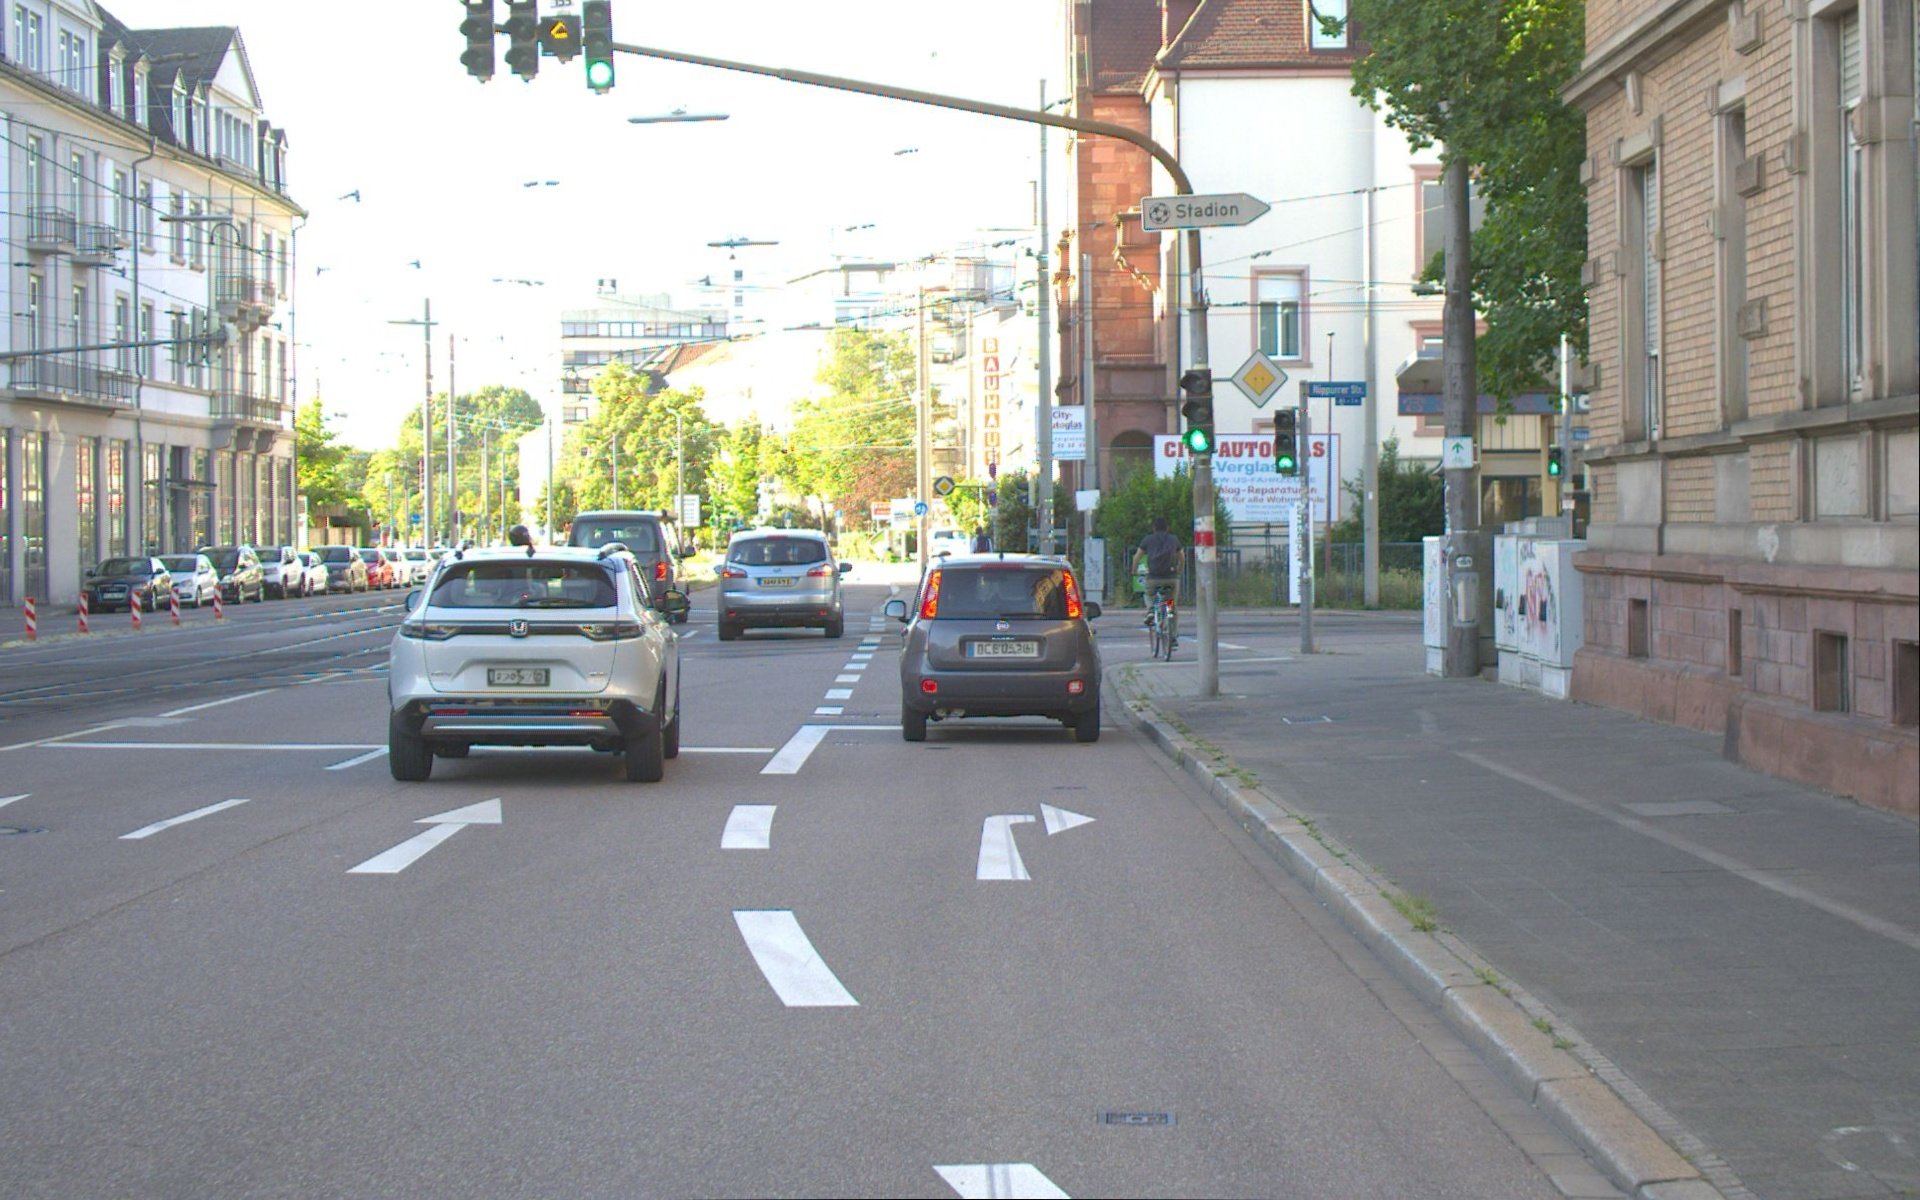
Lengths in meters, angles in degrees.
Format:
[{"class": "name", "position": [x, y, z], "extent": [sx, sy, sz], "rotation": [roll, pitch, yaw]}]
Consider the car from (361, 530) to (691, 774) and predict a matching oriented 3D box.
[{"class": "car", "position": [-2.902, 0.289, 23.777], "extent": [1.947, 1.523, 4.090], "rotation": [0, 1, -3]}]

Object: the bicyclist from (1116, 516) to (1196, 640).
[{"class": "bicyclist", "position": [2.431, -0.277, 42.663], "extent": [0.833, 1.520, 0.994], "rotation": [0, 1, -6]}]

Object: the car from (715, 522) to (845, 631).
[{"class": "car", "position": [-2.693, -0.374, 52.276], "extent": [1.814, 1.576, 4.000], "rotation": [0, 1, -1]}]

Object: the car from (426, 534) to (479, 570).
[{"class": "car", "position": [-22.164, -2.122, 150.370], "extent": [1.719, 1.546, 4.000], "rotation": [0, 1, 0]}]

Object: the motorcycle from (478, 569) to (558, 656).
[{"class": "motorcycle", "position": [-5.786, 0.147, 45.064], "extent": [0.777, 1.078, 2.281], "rotation": [0, 1, -1]}]

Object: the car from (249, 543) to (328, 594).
[{"class": "car", "position": [-21.361, -1.015, 109.459], "extent": [1.719, 1.546, 4.000], "rotation": [0, 1, 0]}]

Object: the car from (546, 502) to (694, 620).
[{"class": "car", "position": [-5.983, -0.709, 61.014], "extent": [2.172, 2.002, 4.808], "rotation": [0, 1, 0]}]

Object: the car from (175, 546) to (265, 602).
[{"class": "car", "position": [-20.963, -0.753, 97.547], "extent": [1.719, 1.546, 3.856], "rotation": [0, 1, 0]}]

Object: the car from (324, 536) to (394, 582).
[{"class": "car", "position": [-21.044, -1.446, 120.489], "extent": [1.719, 1.546, 4.000], "rotation": [0, 1, 0]}]

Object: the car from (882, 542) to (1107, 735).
[{"class": "car", "position": [0.359, 0.267, 29.188], "extent": [1.731, 1.495, 4.000], "rotation": [0, 1, 3]}]

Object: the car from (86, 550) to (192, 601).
[{"class": "car", "position": [-20.753, -0.637, 87.010], "extent": [1.719, 1.228, 4.000], "rotation": [0, 1, 0]}]

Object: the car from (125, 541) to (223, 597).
[{"class": "car", "position": [-21.144, -0.839, 92.593], "extent": [1.719, 1.447, 4.000], "rotation": [0, 1, 0]}]

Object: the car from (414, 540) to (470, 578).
[{"class": "car", "position": [-21.729, -1.735, 144.362], "extent": [1.719, 1.546, 4.000], "rotation": [0, 1, 0]}]

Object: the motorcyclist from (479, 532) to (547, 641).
[{"class": "motorcyclist", "position": [-5.846, -0.182, 44.999], "extent": [0.777, 1.418, 0.891], "rotation": [0, 1, -1]}]

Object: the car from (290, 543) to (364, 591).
[{"class": "car", "position": [-21.079, -1.106, 114.534], "extent": [1.719, 1.546, 4.000], "rotation": [0, 1, 0]}]

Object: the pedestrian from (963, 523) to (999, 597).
[{"class": "pedestrian", "position": [0.524, -0.990, 84.626], "extent": [0.875, 1.818, 1.184], "rotation": [0, 1, 1]}]

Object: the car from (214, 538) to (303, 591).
[{"class": "car", "position": [-21.265, -1.093, 104.318], "extent": [1.835, 1.546, 4.274], "rotation": [0, 1, 0]}]

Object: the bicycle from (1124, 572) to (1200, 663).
[{"class": "bicycle", "position": [2.484, 0.206, 42.442], "extent": [0.771, 1.082, 1.871], "rotation": [0, 1, -2]}]

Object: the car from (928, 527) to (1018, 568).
[{"class": "car", "position": [0.639, -2.645, 172.969], "extent": [4.257, 2.007, 2.001], "rotation": [0, 1, -9]}]
